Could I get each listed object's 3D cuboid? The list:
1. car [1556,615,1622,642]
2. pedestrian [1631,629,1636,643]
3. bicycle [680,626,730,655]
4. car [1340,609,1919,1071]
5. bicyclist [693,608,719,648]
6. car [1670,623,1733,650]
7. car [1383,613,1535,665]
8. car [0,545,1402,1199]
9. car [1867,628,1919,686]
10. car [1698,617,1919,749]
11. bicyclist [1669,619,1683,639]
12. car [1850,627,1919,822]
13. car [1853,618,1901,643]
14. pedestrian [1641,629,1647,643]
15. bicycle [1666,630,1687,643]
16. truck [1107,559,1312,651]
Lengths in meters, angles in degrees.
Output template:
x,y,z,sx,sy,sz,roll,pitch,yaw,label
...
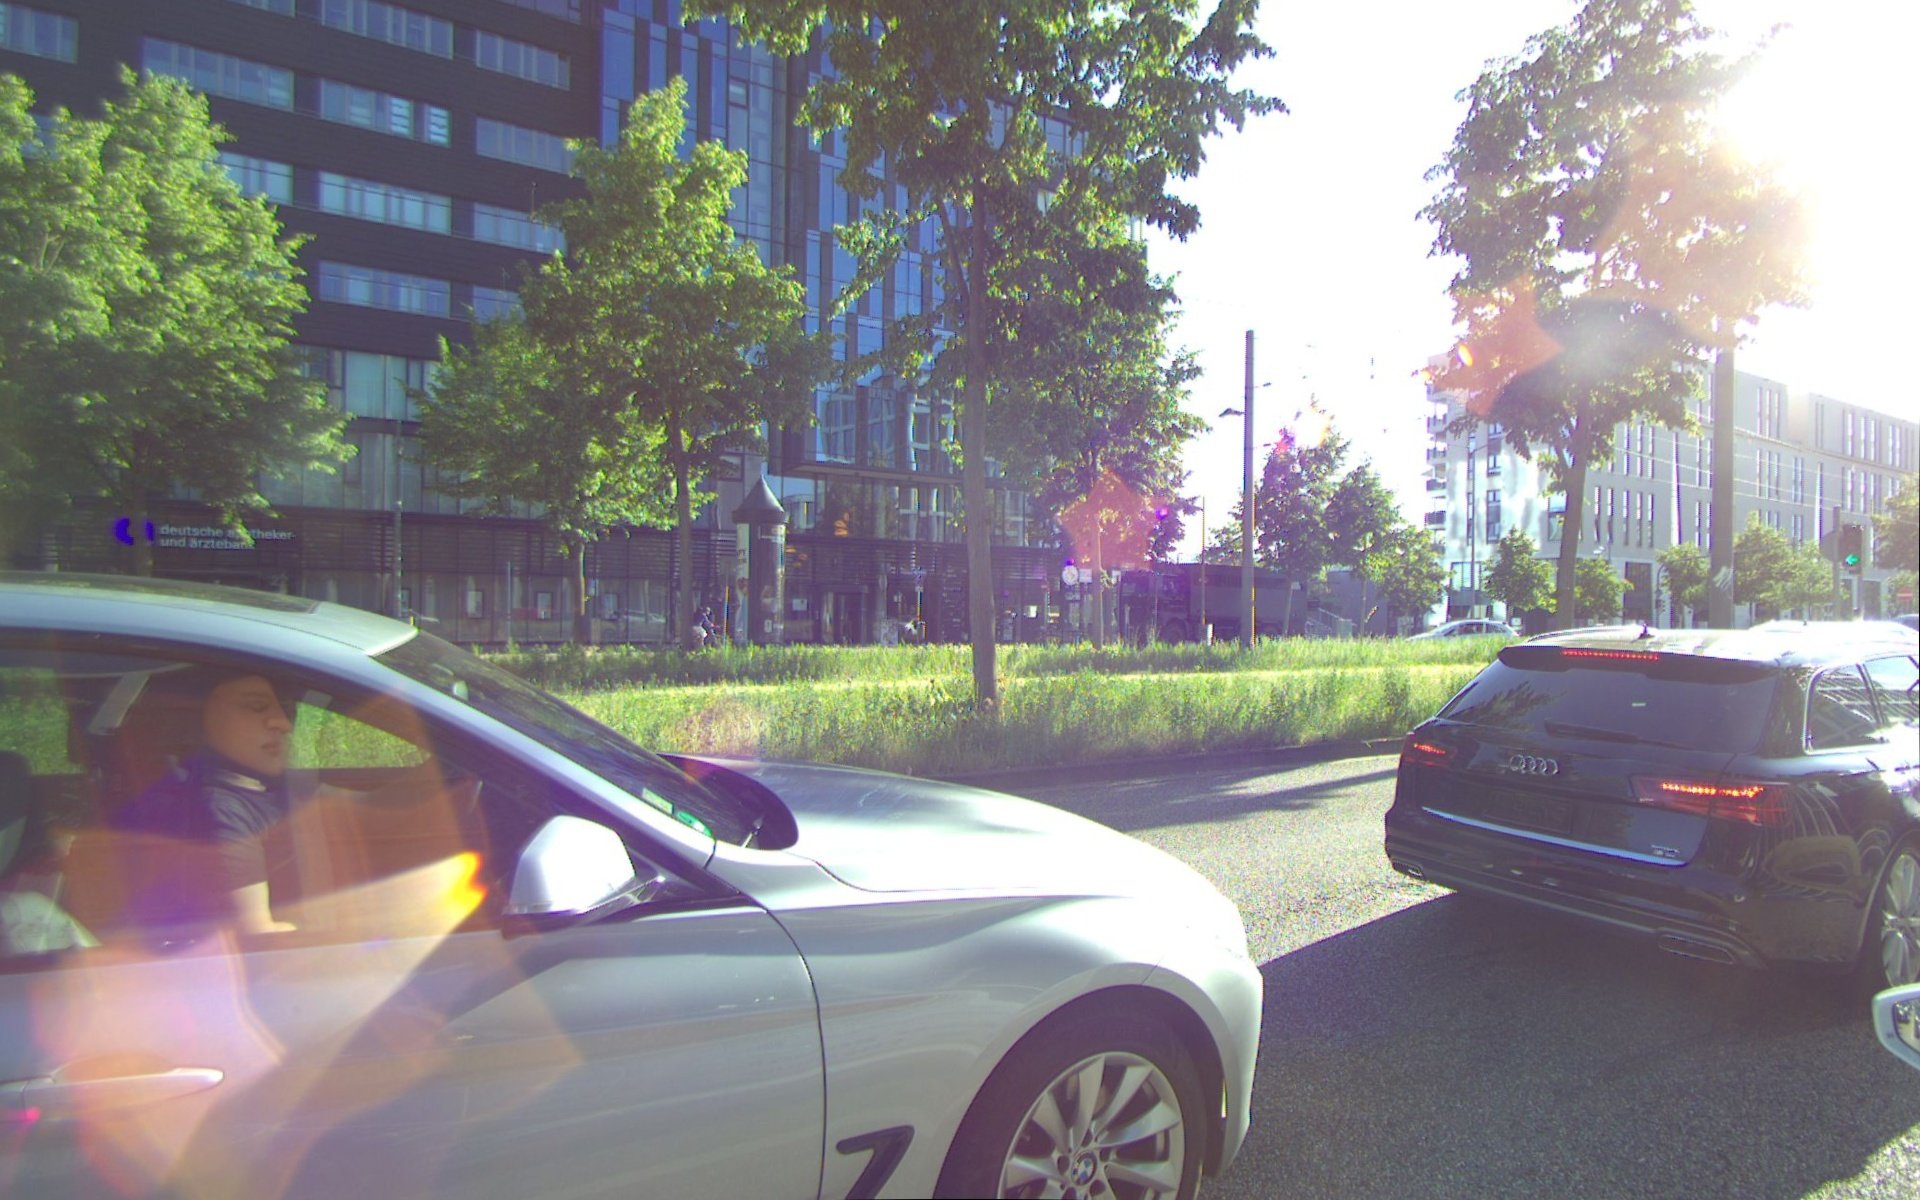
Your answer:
x,y,z,sx,sy,sz,roll,pitch,yaw,label
37.523,1.695,59.901,3.953,1.540,1.756,1,-1,-30,car
55.471,2.952,82.679,0.257,1.100,0.252,1,0,-30,pedestrian
-9.363,1.477,36.910,1.735,1.049,0.475,1,-1,-31,bicycle
4.420,0.838,5.379,4.911,1.504,1.864,1,-1,-32,car
-9.336,1.018,36.923,0.811,1.443,0.475,1,-1,-30,bicyclist
51.461,2.523,69.676,4.319,1.838,1.984,1,-1,-30,car
17.878,1.374,36.181,4.476,1.503,1.805,3,2,6,car
-1.305,0.700,2.064,4.509,1.504,1.810,1,-1,-31,car
26.359,1.568,27.118,1.772,1.466,4.562,0,-3,29,car
11.691,1.014,13.302,4.164,1.512,1.508,1,-1,-29,car
56.608,2.288,79.373,0.706,1.549,0.674,1,-1,-30,bicyclist
9.272,0.978,8.162,4.288,1.445,1.833,1,-1,-30,car
78.088,2.605,85.523,3.953,2.040,1.984,1,-1,-30,car
55.875,2.923,82.045,0.286,1.100,0.252,1,0,-30,pedestrian
56.655,2.892,79.406,1.933,1.001,0.673,1,-1,-31,bicycle
11.688,0.308,46.495,10.094,3.904,2.877,1,-1,-31,truck
